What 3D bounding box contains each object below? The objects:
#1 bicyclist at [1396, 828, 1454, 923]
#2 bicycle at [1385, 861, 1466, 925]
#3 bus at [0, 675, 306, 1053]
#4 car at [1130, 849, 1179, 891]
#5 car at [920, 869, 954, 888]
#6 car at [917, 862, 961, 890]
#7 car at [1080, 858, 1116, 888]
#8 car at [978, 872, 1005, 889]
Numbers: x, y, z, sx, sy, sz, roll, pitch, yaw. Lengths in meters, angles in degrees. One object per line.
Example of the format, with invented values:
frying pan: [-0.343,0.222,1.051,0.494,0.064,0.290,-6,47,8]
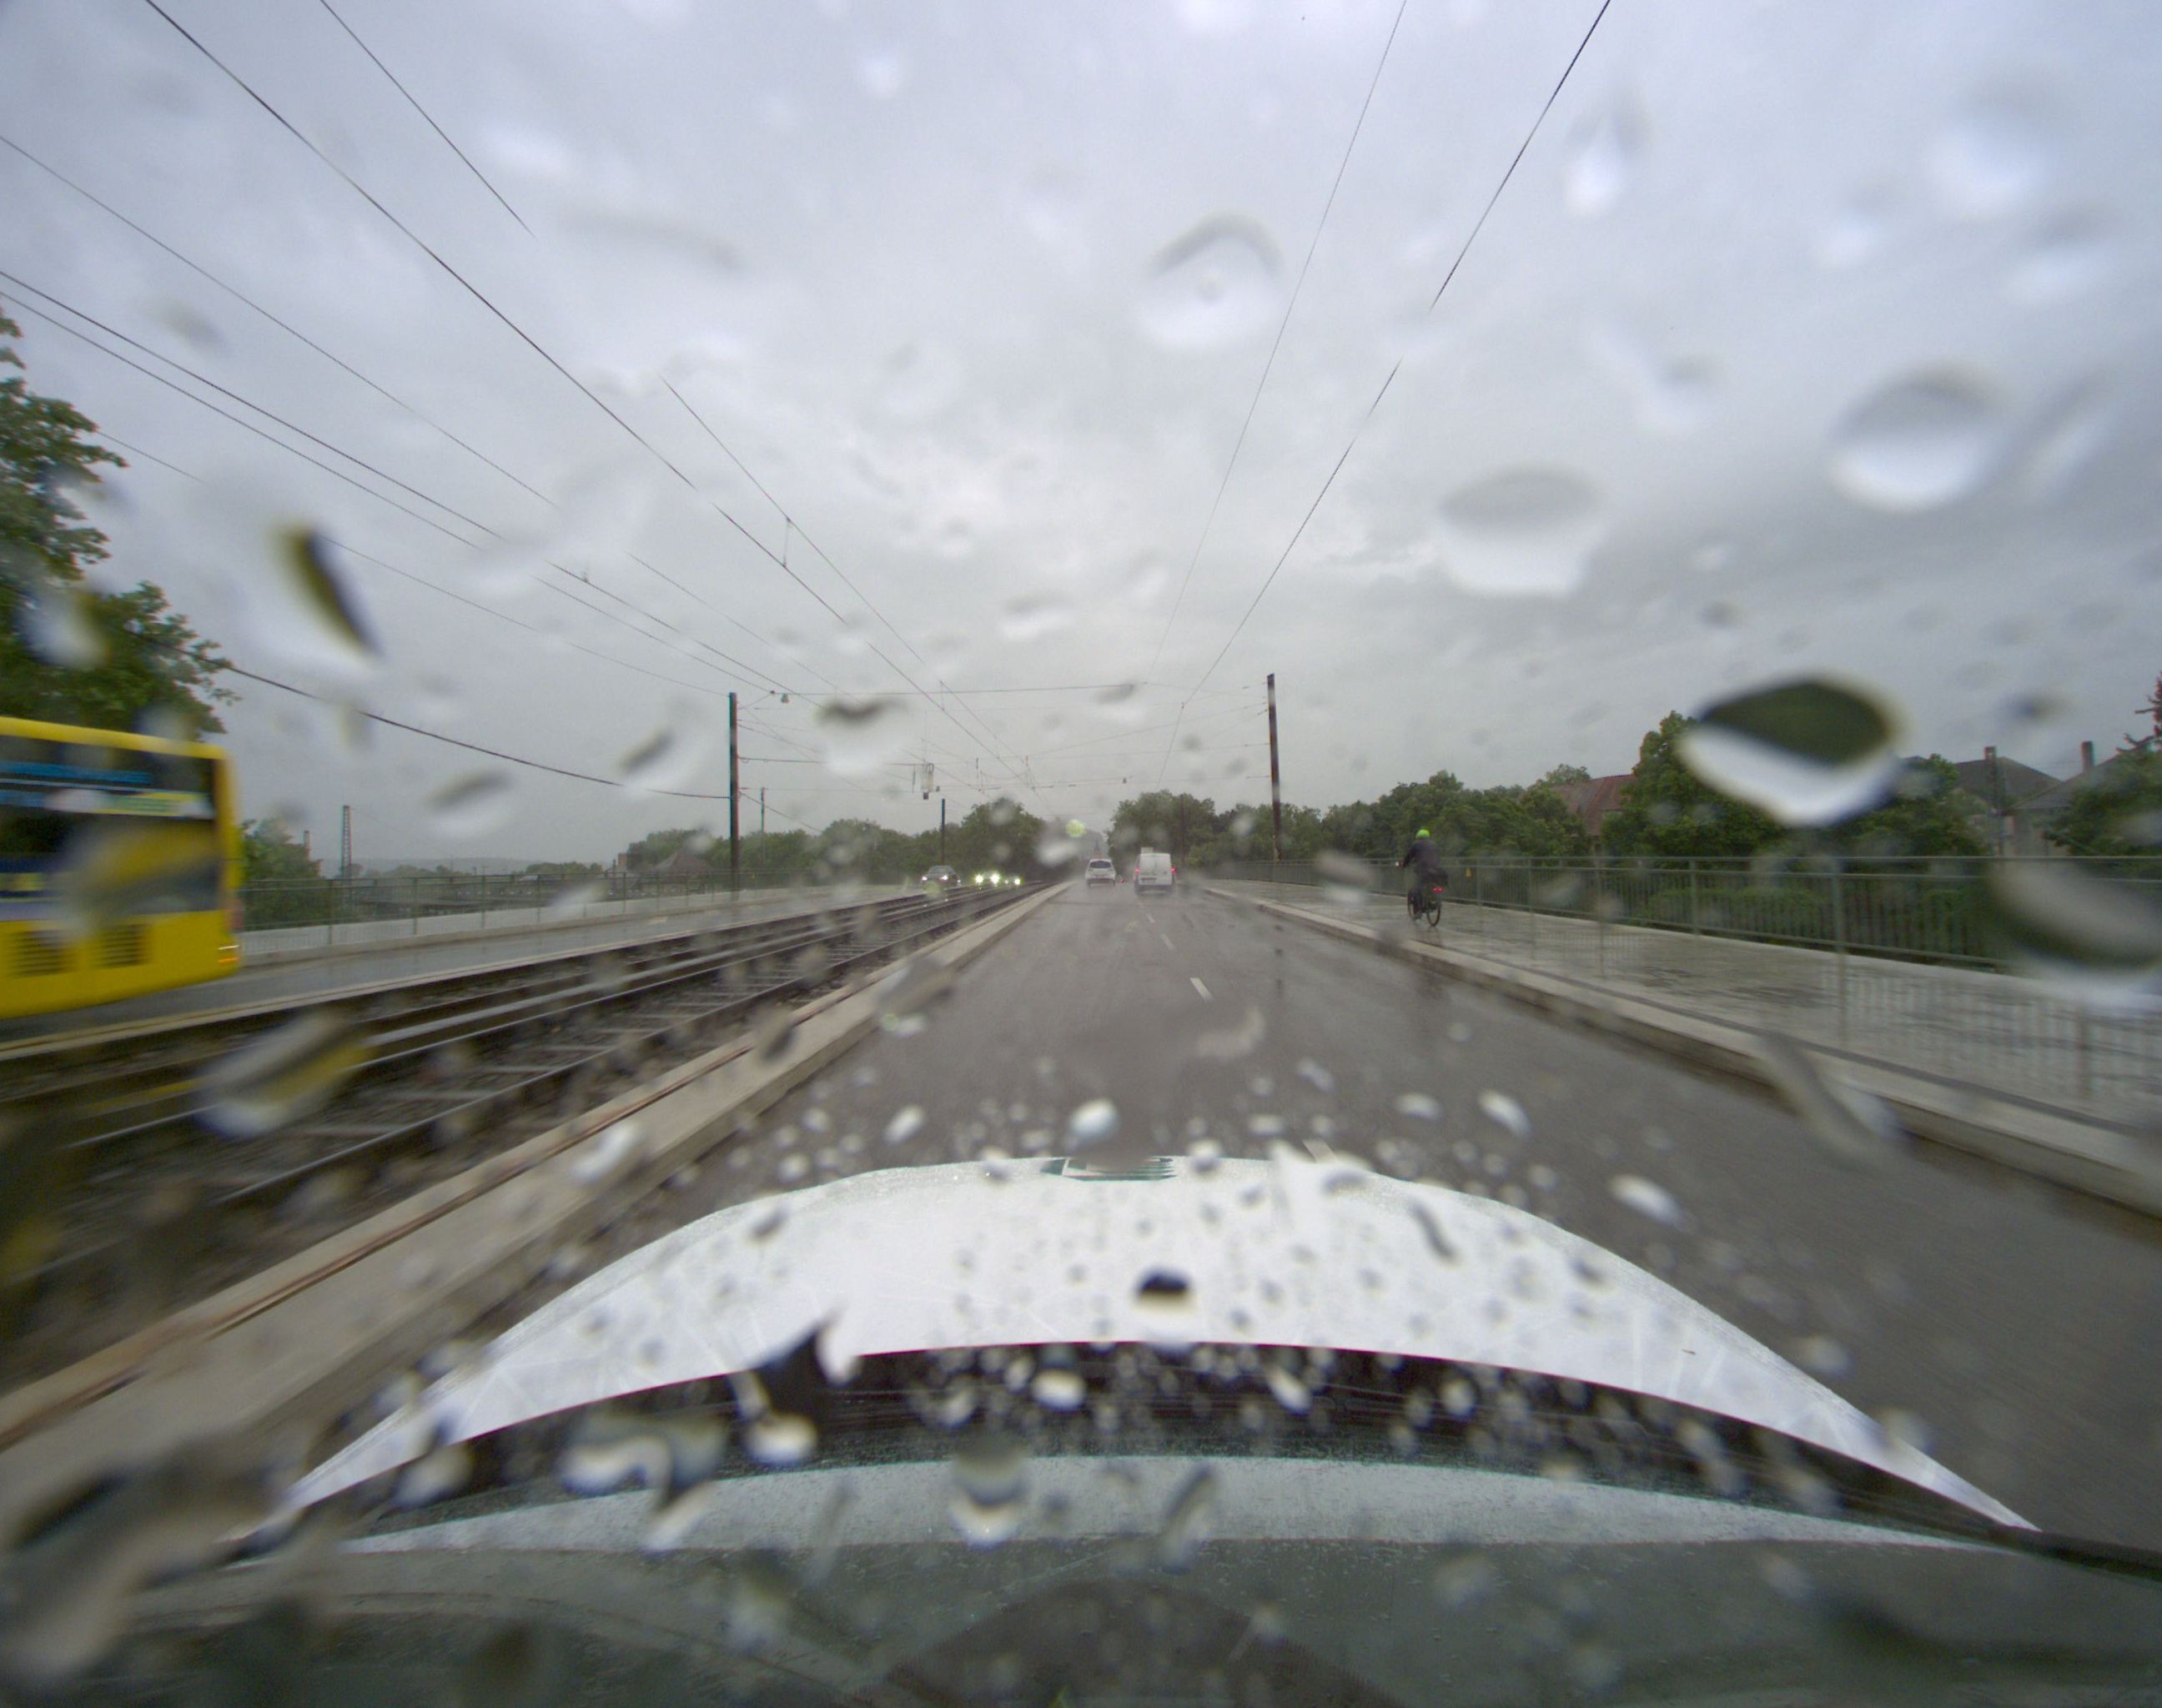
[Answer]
bicyclist: [6.562,0.413,15.574,0.723,1.764,0.949,1,-2,2]
bicycle: [6.563,0.724,15.655,0.720,1.129,2.168,1,-1,2]
bus: [-10.959,0.155,4.376,2.698,3.341,10.997,-3,0,2]
car: [3.182,0.723,35.615,1.985,1.727,4.003,0,-2,4]
car: [-12.331,2.101,70.102,1.987,1.456,4.620,-3,-2,1]
car: [-9.686,1.534,55.923,1.986,1.717,4.942,-3,-2,2]
car: [1.105,1.170,49.706,1.985,1.717,4.003,0,-2,4]
car: [-8.495,2.533,77.422,1.988,1.509,5.111,-3,-2,-1]
